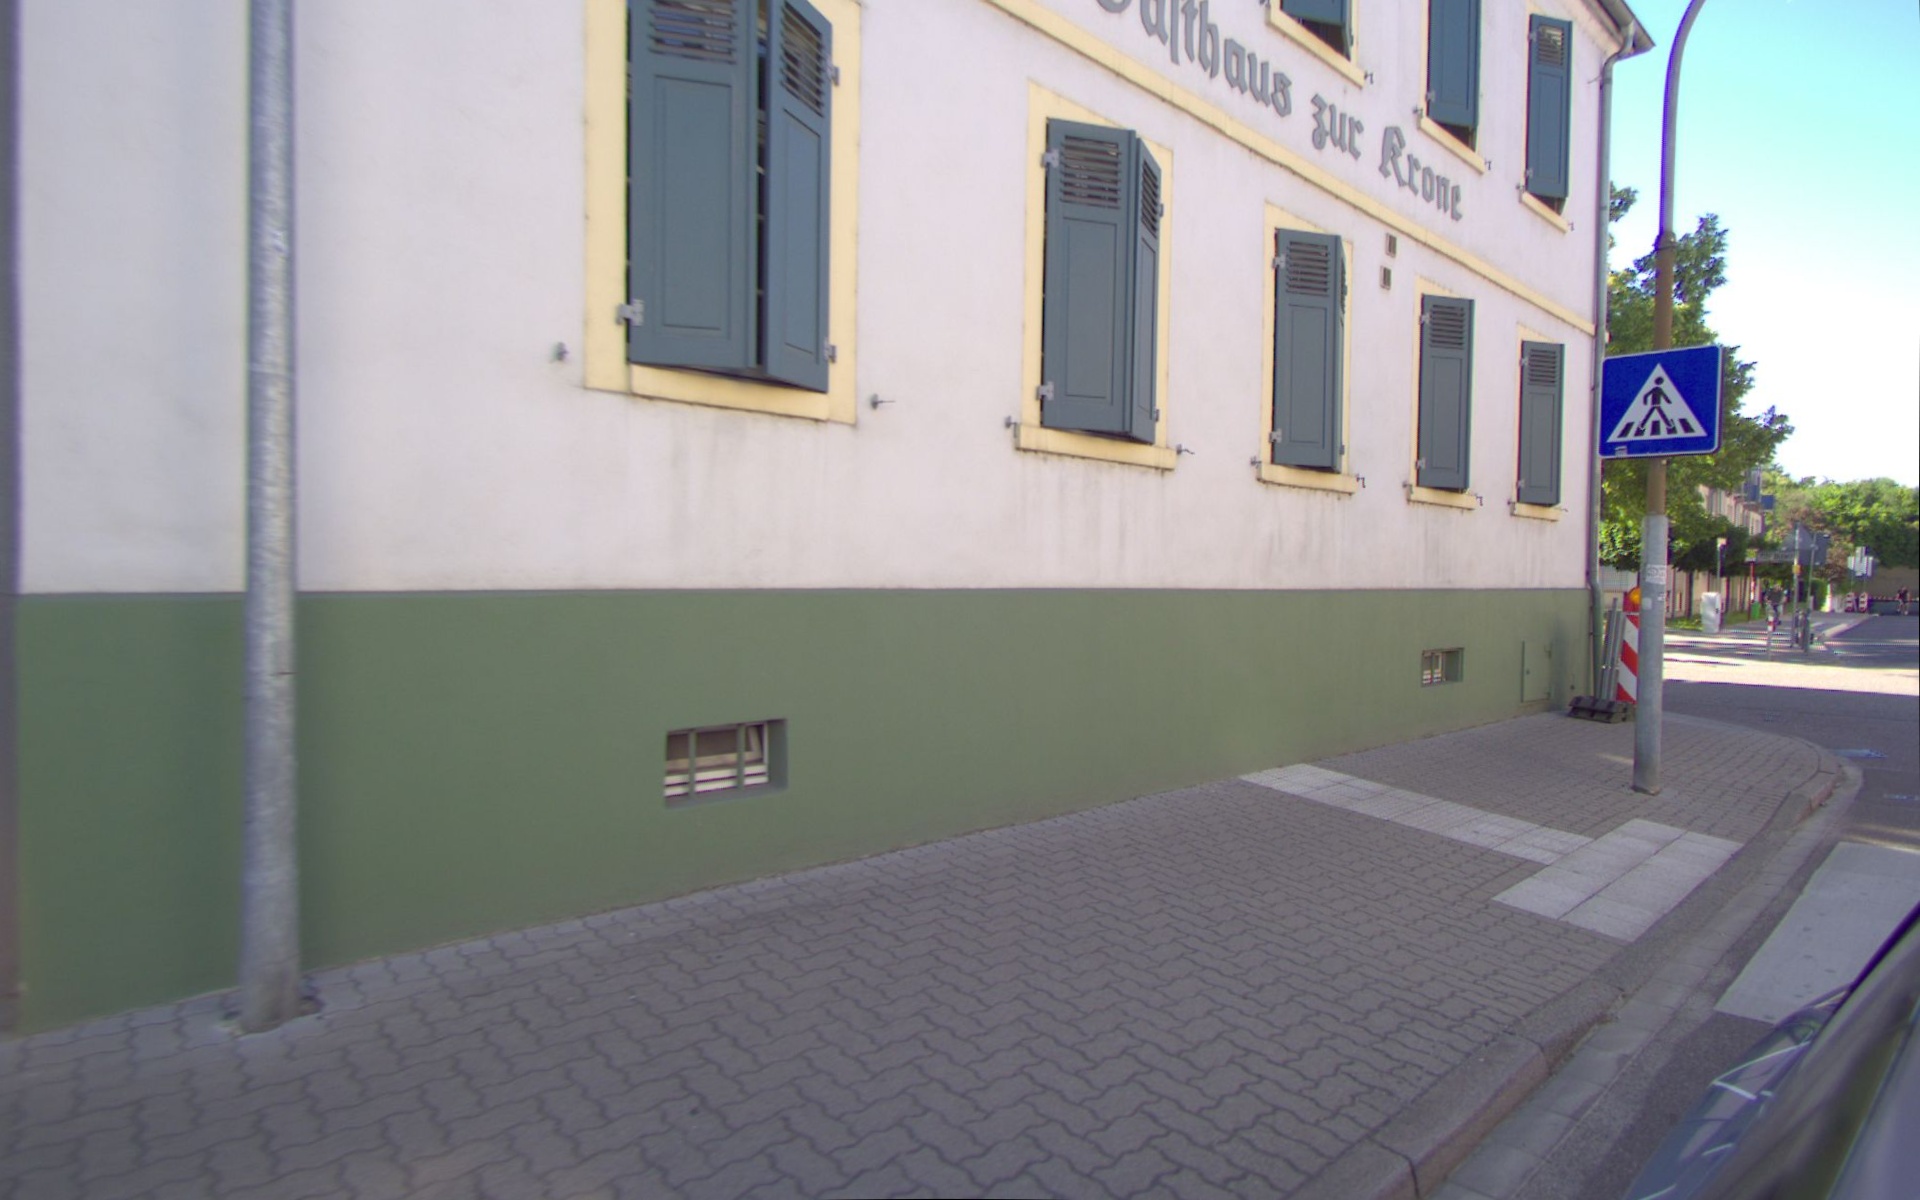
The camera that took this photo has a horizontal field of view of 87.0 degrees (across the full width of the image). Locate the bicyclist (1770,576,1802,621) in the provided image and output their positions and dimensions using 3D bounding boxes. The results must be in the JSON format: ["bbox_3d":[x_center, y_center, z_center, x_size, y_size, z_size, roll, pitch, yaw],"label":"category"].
[{"bbox_3d":[30.068,-0.061,36.852,0.899,1.557,0.668,-1,6,-43],"label":"bicyclist"}]

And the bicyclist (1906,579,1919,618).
[{"bbox_3d":[56.859,-0.100,59.784,1.221,2.337,1.256,-1,0,-40],"label":"bicyclist"}]

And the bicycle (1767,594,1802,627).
[{"bbox_3d":[30.012,0.372,36.848,1.786,1.076,0.668,-1,6,-43],"label":"bicycle"}]

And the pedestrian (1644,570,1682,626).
[{"bbox_3d":[22.017,-0.077,31.698,0.811,1.738,0.661,0,1,-31],"label":"pedestrian"}]

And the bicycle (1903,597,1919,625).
[{"bbox_3d":[56.771,0.623,59.676,3.931,1.571,1.255,-1,0,-41],"label":"bicycle"}]
